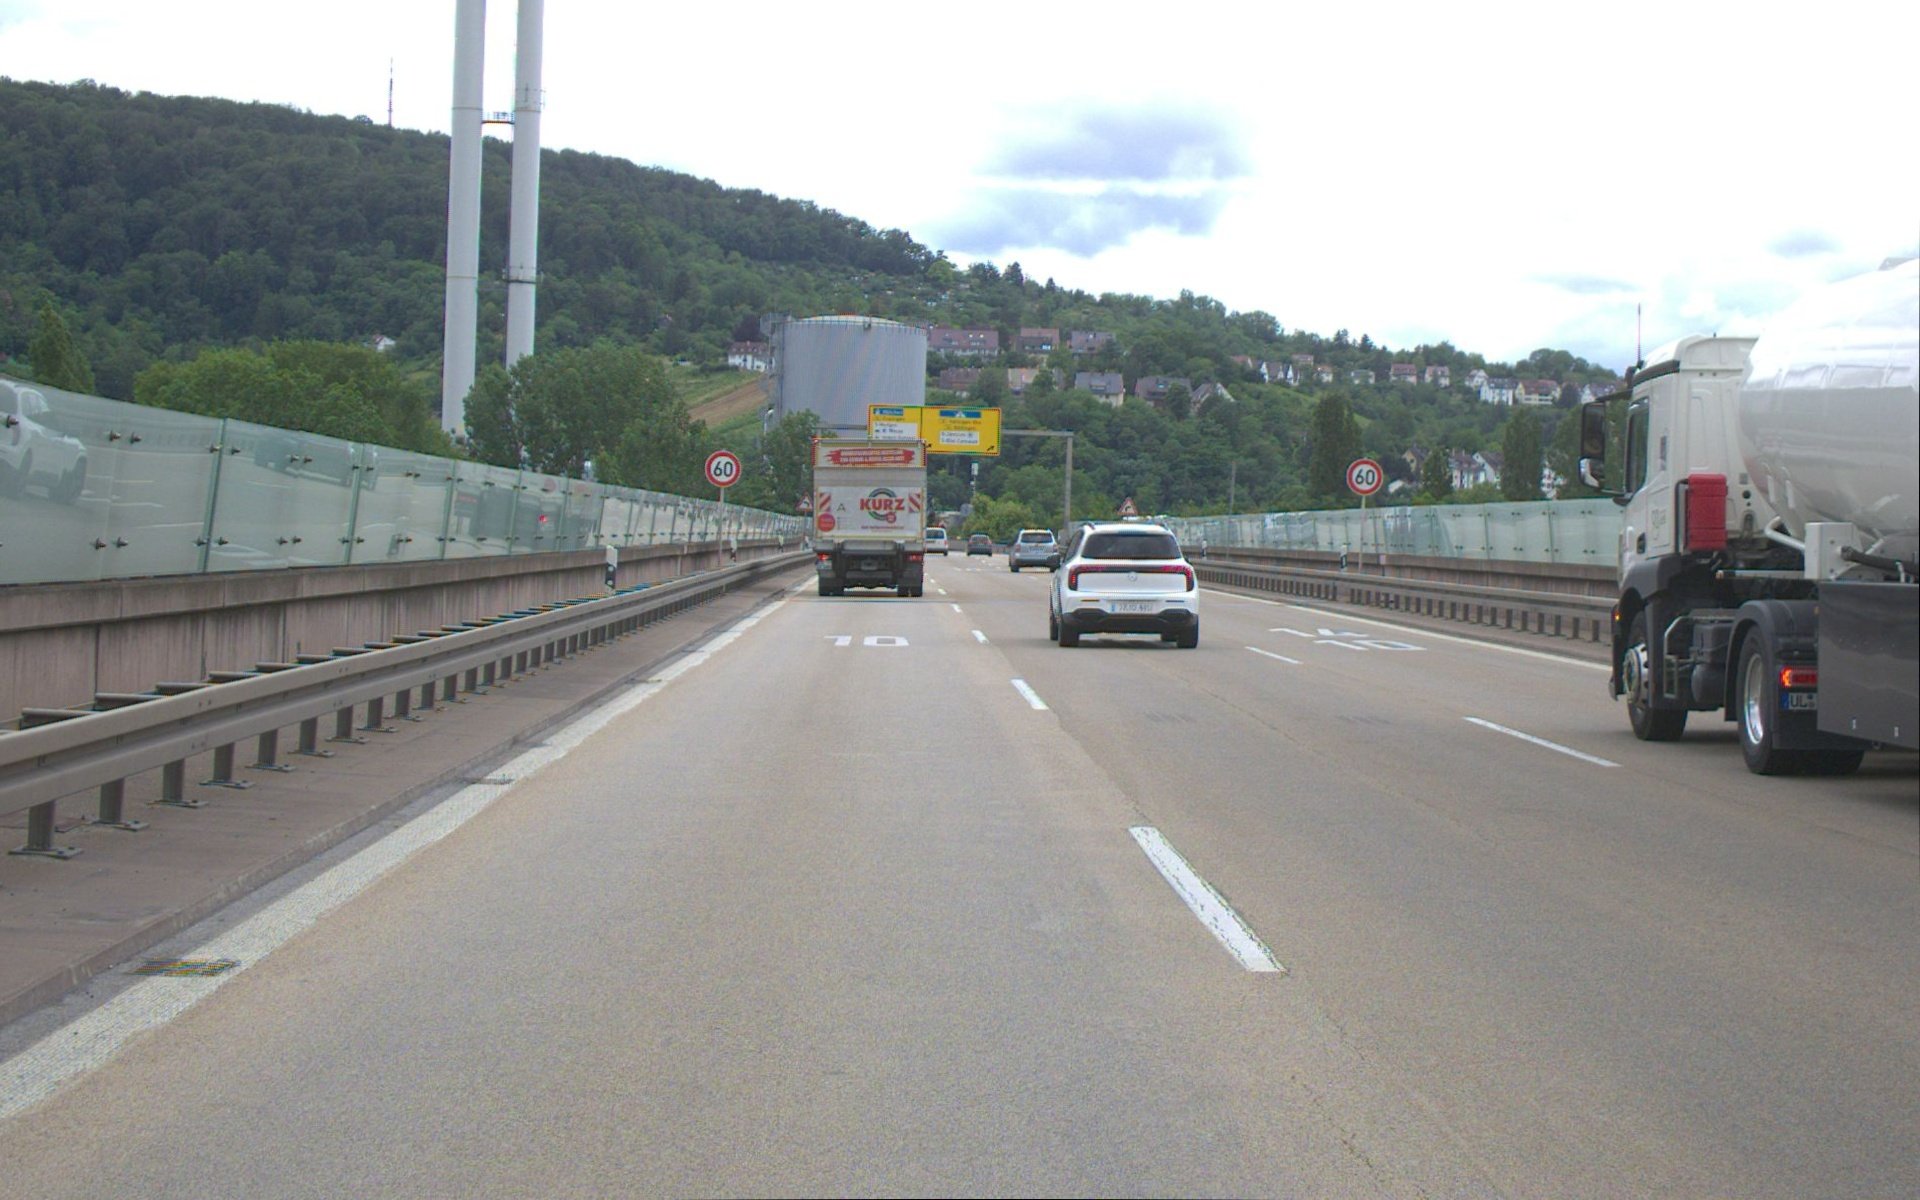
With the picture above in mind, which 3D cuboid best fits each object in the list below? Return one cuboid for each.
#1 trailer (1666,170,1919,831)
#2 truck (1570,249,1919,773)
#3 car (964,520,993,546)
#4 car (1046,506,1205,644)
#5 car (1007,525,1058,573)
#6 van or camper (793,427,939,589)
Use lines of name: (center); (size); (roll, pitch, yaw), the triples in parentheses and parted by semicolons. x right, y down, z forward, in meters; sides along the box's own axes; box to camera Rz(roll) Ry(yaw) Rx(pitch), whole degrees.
trailer: (6.443, -0.524, 18.791); (2.650, 3.531, 11.221); (1, 1, -1)
truck: (6.355, -0.635, 25.606); (2.631, 3.502, 4.904); (1, 1, -1)
car: (1.281, -4.688, 240.227); (1.924, 1.779, 4.113); (1, 1, 0)
car: (2.223, -0.377, 47.186); (1.924, 1.779, 4.113); (1, 1, 0)
car: (2.859, -2.020, 134.793); (1.924, 1.779, 4.113); (1, 1, 2)
van or camper: (-2.122, -2.114, 80.947); (3.122, 3.567, 8.550); (1, 1, 0)
